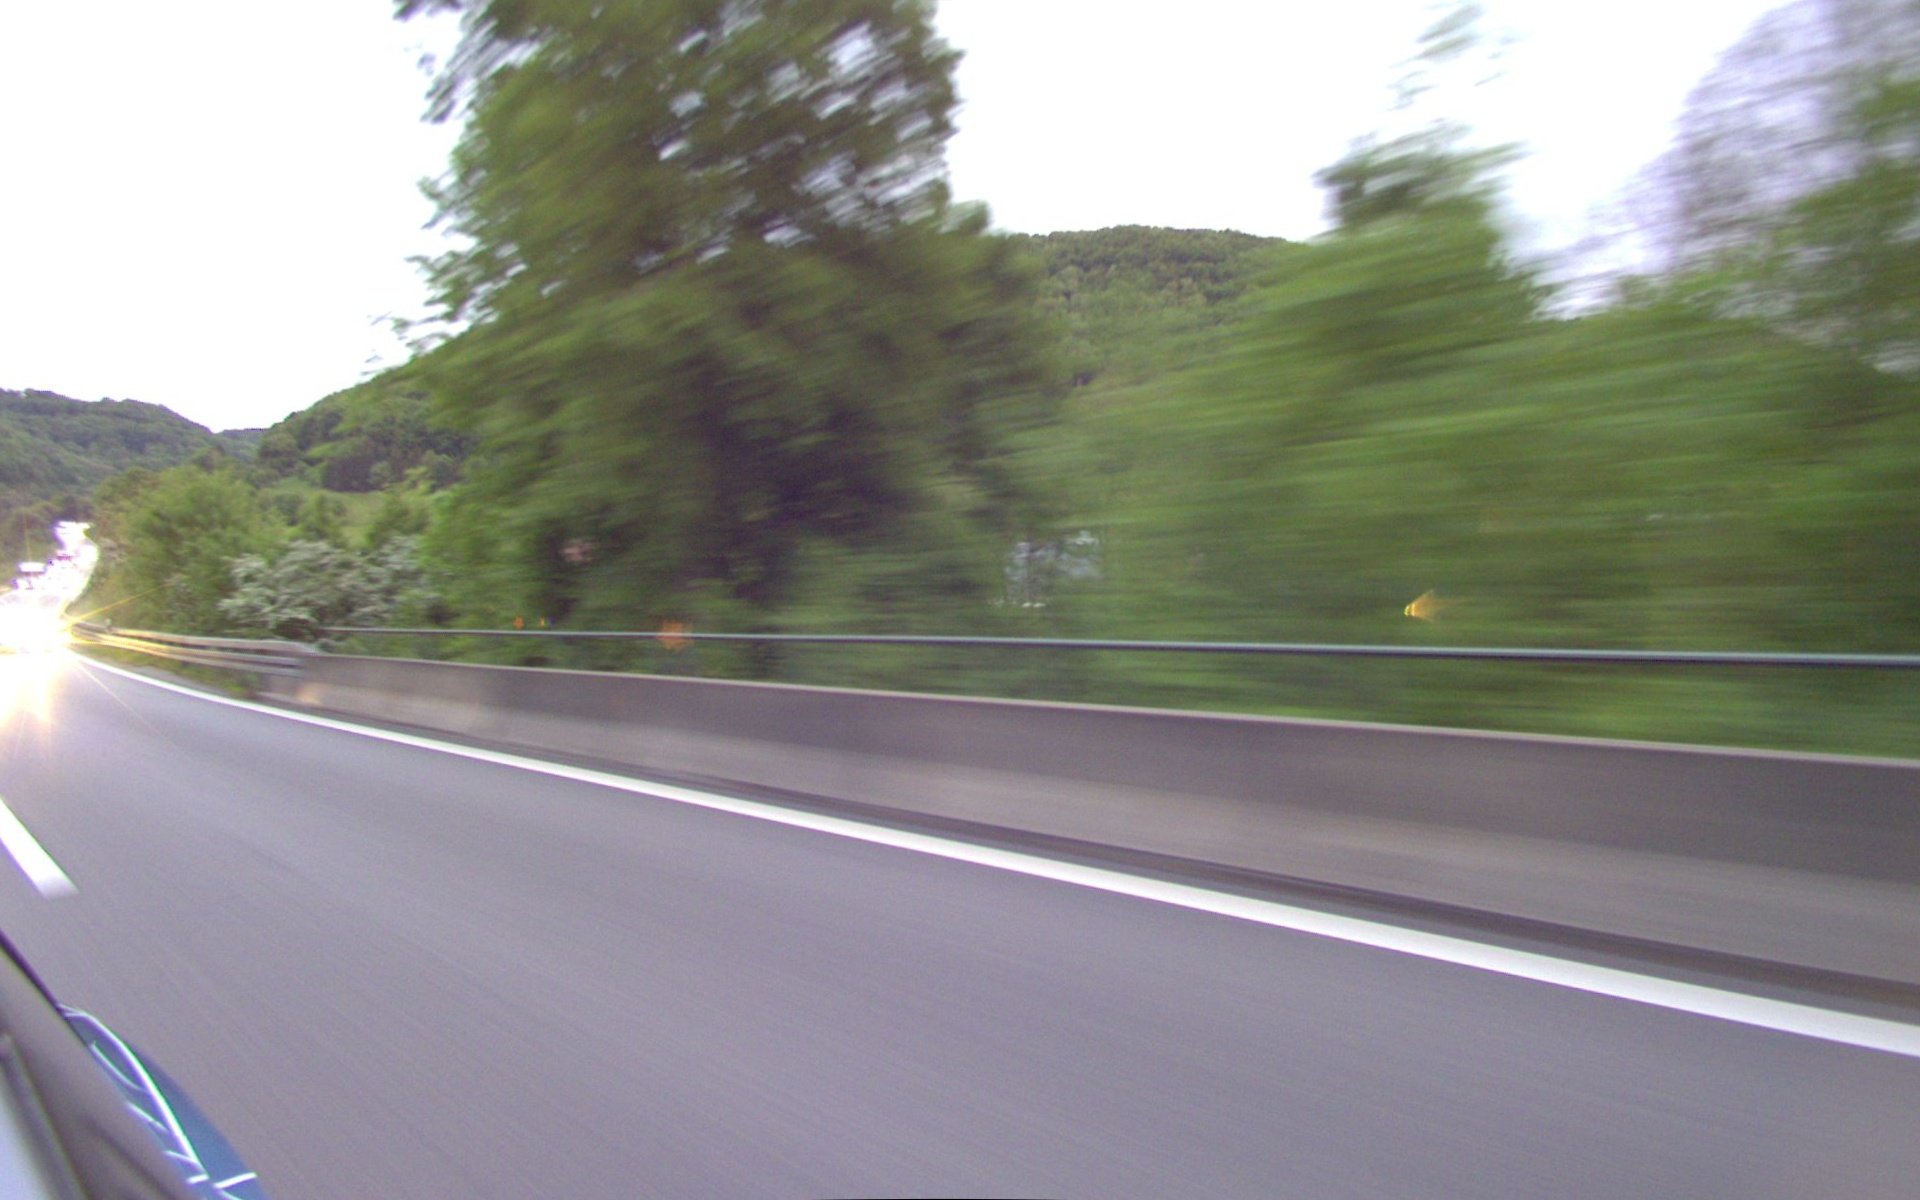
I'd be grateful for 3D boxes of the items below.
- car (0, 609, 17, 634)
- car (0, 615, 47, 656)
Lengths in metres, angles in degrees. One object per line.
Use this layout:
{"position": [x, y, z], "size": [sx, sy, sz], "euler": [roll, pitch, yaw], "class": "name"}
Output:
{"position": [-56.875, 1.283, 59.683], "size": [3.670, 1.444, 1.667], "euler": [-1, 0, 44], "class": "car"}
{"position": [-35.724, 1.313, 38.242], "size": [1.666, 1.479, 3.770], "euler": [-1, 0, -45], "class": "car"}
